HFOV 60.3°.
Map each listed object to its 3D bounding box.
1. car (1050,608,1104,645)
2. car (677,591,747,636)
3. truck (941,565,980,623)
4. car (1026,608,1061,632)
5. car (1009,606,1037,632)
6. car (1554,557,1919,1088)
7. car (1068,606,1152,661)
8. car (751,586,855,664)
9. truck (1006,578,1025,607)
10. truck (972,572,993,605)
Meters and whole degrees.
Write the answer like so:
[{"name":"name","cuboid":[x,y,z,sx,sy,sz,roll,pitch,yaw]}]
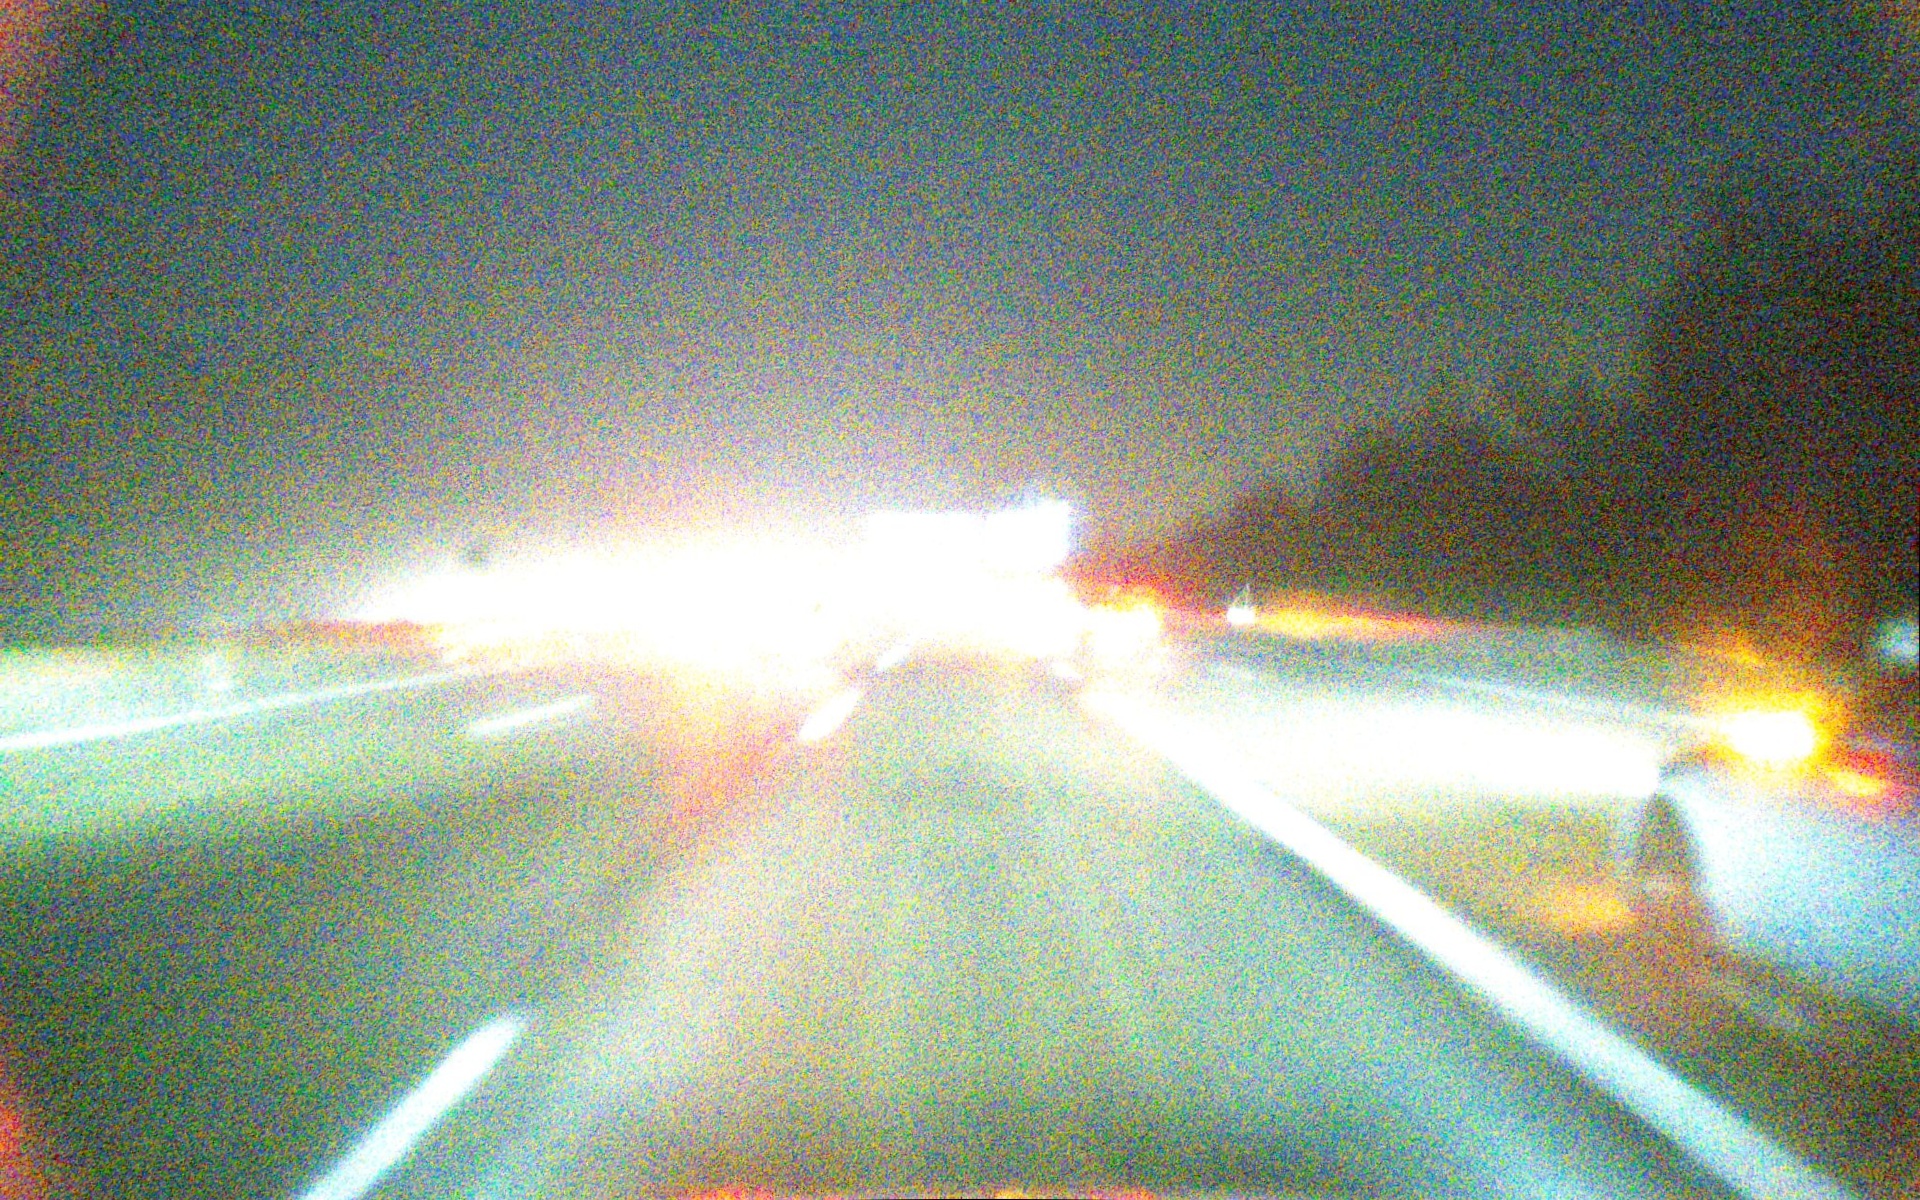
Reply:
[{"name":"car","cuboid":[4.232,0.952,60.083,1.549,1.268,3.066,1,-1,-4]},{"name":"car","cuboid":[-7.487,0.426,50.221,1.629,1.258,3.760,-2,-1,-2]},{"name":"truck","cuboid":[0.078,-0.303,94.383,1.952,3.096,6.465,-2,-1,1]},{"name":"car","cuboid":[4.504,1.096,90.005,1.549,1.268,3.066,1,-1,-4]},{"name":"car","cuboid":[4.268,1.285,112.113,1.824,1.646,4.000,1,-1,1]},{"name":"car","cuboid":[3.800,0.651,5.100,2.016,1.545,5.014,0,0,-2]},{"name":"car","cuboid":[3.593,0.792,40.035,1.549,1.268,3.066,1,-1,-4]},{"name":"car","cuboid":[-3.199,0.466,34.280,1.765,1.513,4.000,0,0,0]},{"name":"truck","cuboid":[6.367,-0.835,189.483,1.952,3.096,6.465,-2,-1,1]},{"name":"truck","cuboid":[2.289,-1.129,168.452,1.952,3.096,6.465,-2,-1,1]}]
